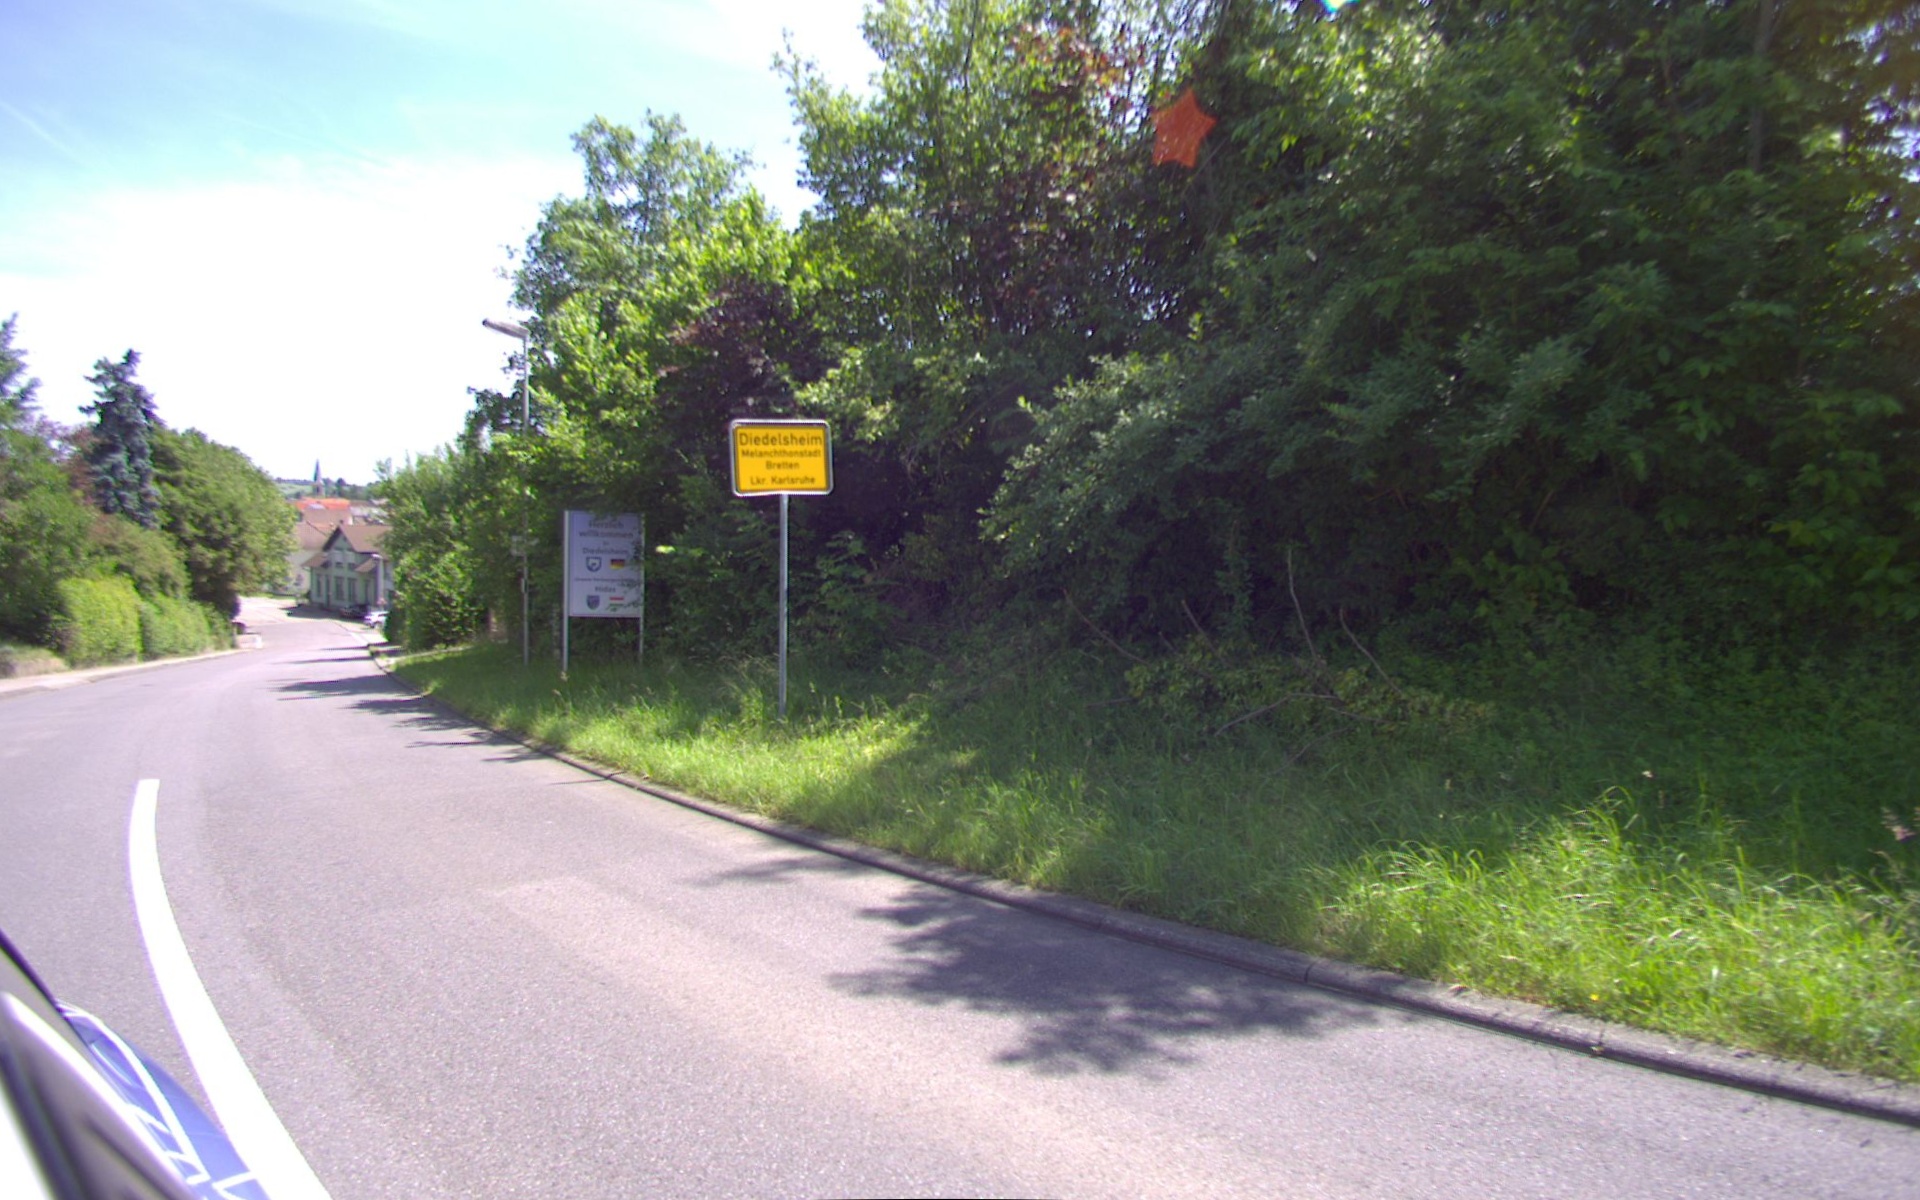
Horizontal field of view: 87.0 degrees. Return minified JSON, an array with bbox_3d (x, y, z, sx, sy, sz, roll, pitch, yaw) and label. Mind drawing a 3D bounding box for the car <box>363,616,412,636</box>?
[{"bbox_3d":[-51.903,2.338,91.775,3.530,1.395,1.517,-6,5,-43],"label":"car"}]
